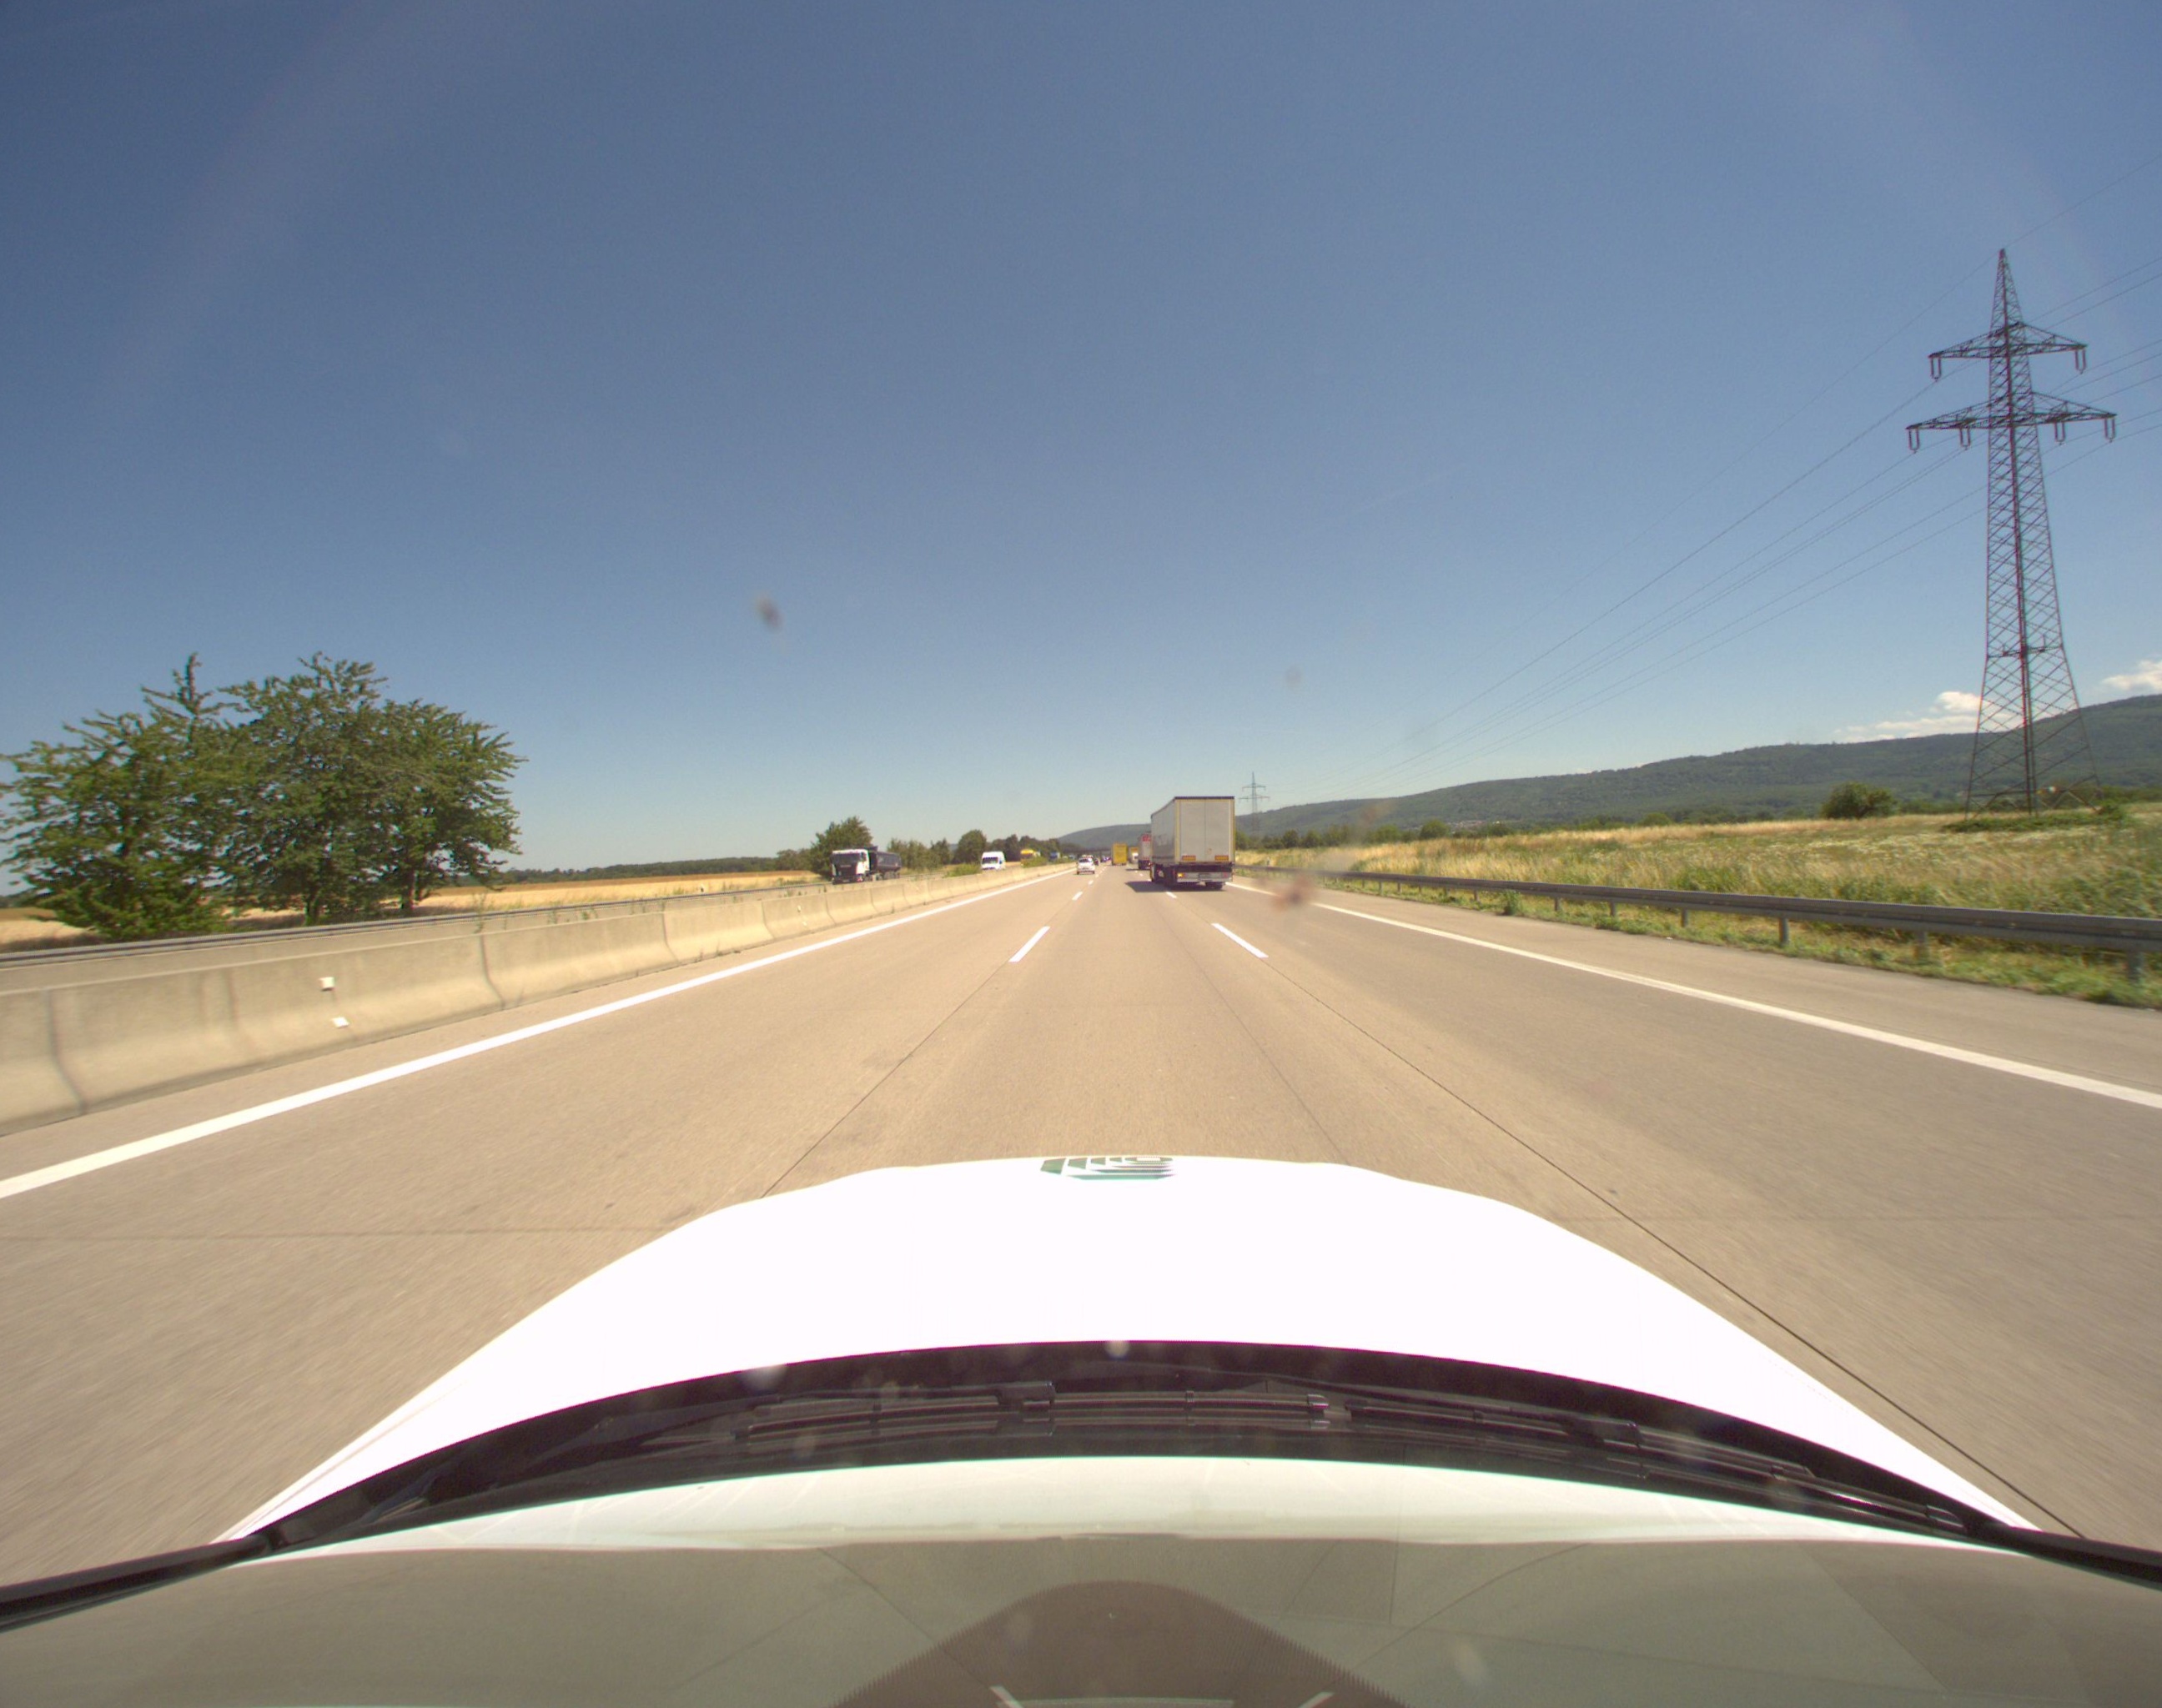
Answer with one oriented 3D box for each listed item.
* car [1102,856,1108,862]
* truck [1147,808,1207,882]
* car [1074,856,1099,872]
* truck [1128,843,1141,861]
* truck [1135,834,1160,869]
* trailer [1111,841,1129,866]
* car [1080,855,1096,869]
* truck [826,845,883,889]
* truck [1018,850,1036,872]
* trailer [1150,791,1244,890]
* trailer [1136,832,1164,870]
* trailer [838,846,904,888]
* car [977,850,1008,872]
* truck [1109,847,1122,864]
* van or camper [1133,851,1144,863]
[{"bbox_3d":[6.913,1.411,233.799,1.776,1.881,4.003,-1,0,3],"label":"car"},{"bbox_3d":[5.544,-0.508,47.940,2.973,4.062,5.479,-1,0,1],"label":"truck"},{"bbox_3d":[0.533,0.929,77.306,2.098,1.536,4.126,-1,0,4],"label":"car"},{"bbox_3d":[13.141,-0.546,199.743,2.987,4.314,9.689,-1,0,2],"label":"truck"},{"bbox_3d":[8.297,-0.292,101.472,2.893,4.101,6.277,-1,0,3],"label":"truck"},{"bbox_3d":[7.466,-0.128,155.711,3.203,4.564,13.465,-1,0,3],"label":"trailer"},{"bbox_3d":[1.046,1.179,123.711,2.245,2.013,4.301,-1,0,3],"label":"car"},{"bbox_3d":[-17.982,1.028,65.040,2.796,3.304,5.616,-1,0,2],"label":"truck"},{"bbox_3d":[-10.442,1.294,157.752,2.733,4.080,5.543,-1,0,2],"label":"truck"},{"bbox_3d":[5.398,-0.520,40.848,3.007,4.061,14.210,-1,0,1],"label":"trailer"},{"bbox_3d":[7.897,-0.310,94.983,2.862,4.100,13.524,-1,0,3],"label":"trailer"},{"bbox_3d":[-17.829,1.043,69.861,2.817,3.304,9.467,-1,0,2],"label":"trailer"},{"bbox_3d":[-9.009,0.685,83.340,2.202,2.188,6.328,-1,0,2],"label":"car"},{"bbox_3d":[9.050,0.387,215.876,3.340,4.272,8.234,-1,0,2],"label":"truck"},{"bbox_3d":[12.061,0.635,171.636,2.216,2.531,5.433,-1,0,2],"label":"van or camper"}]
